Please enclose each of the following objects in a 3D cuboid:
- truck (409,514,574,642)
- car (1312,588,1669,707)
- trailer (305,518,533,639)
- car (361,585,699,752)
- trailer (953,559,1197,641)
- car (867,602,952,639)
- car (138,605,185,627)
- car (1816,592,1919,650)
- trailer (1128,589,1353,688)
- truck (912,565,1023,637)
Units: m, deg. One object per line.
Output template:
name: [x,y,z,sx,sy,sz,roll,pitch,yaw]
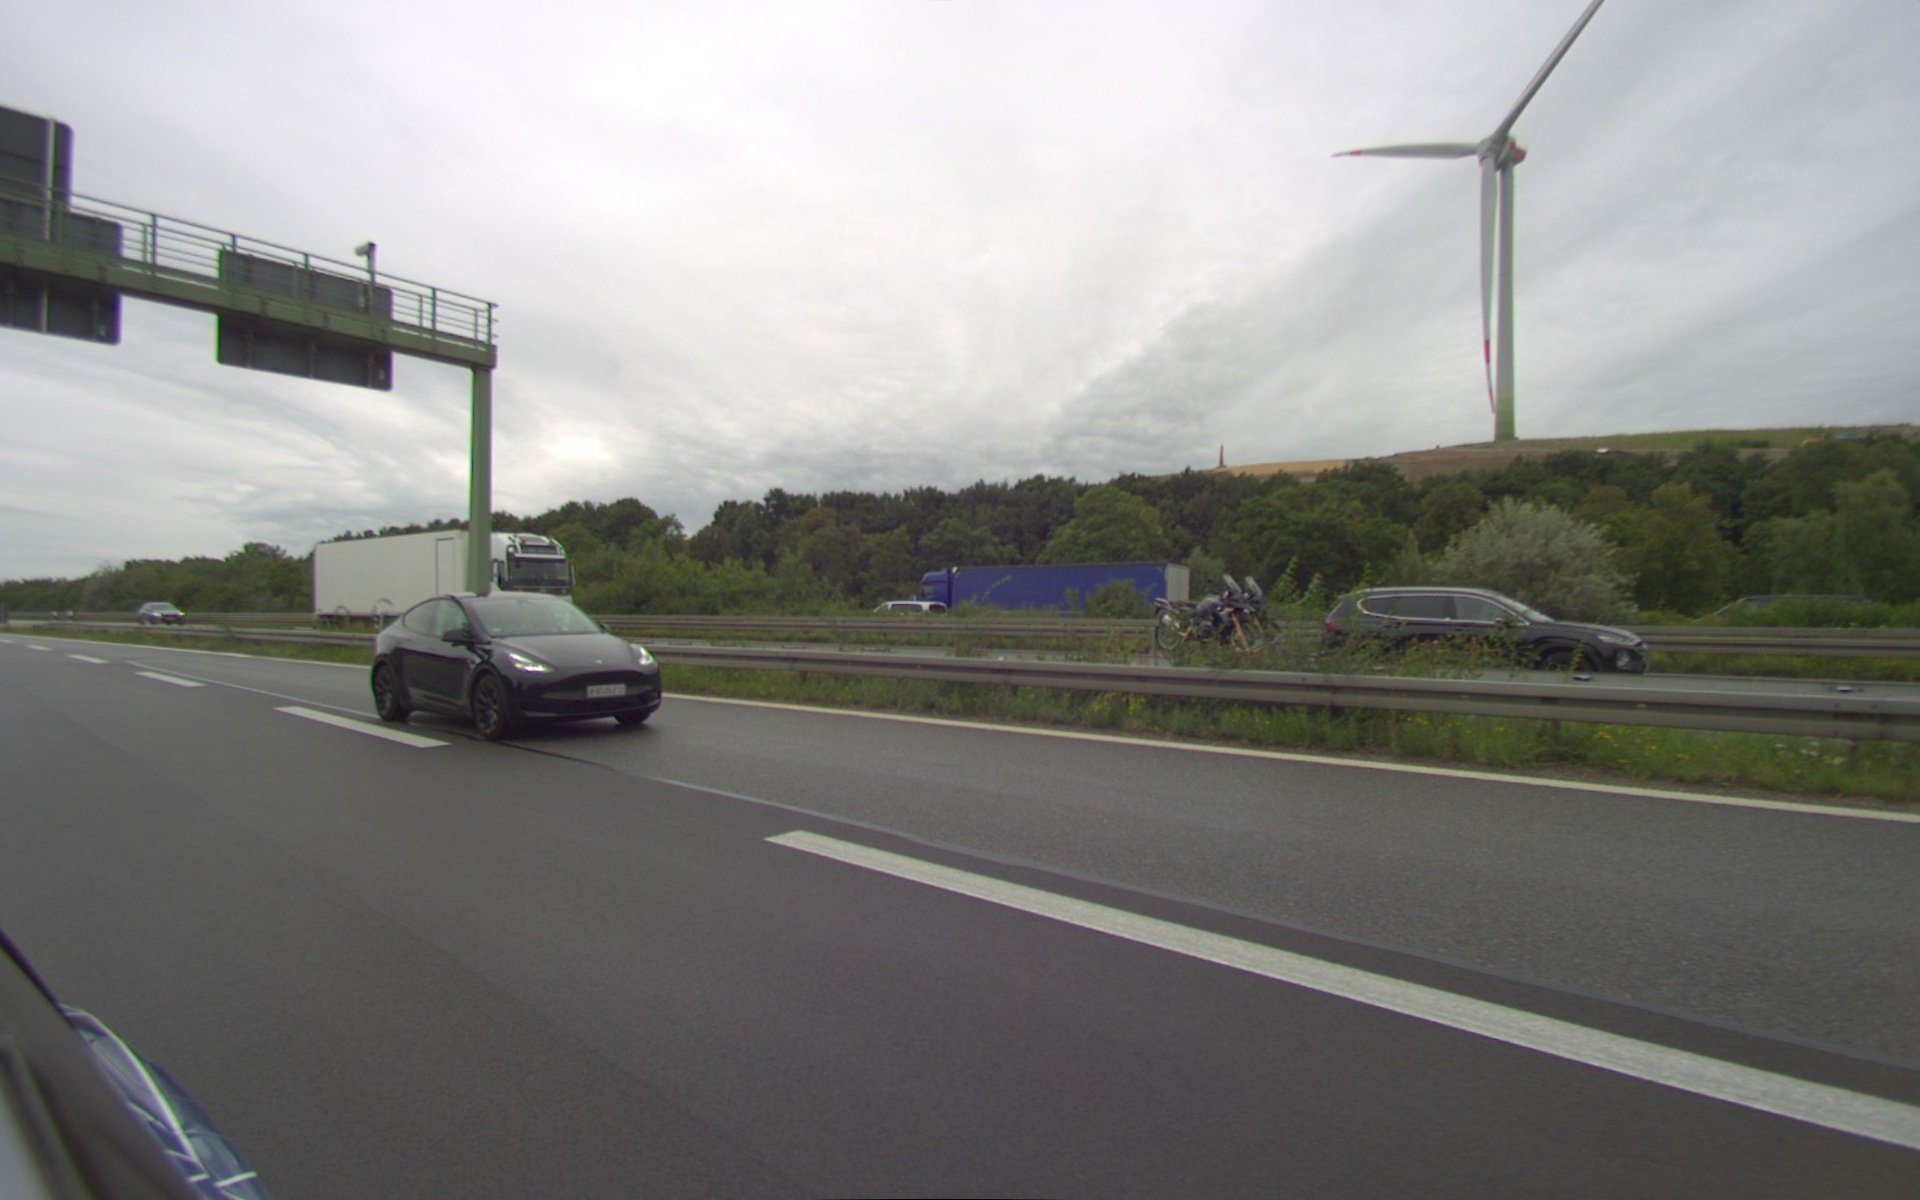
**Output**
truck: [-16.802,-0.692,36.130,6.438,4.166,2.739,-1,0,39]
car: [8.351,0.641,16.192,4.802,1.638,1.863,0,1,40]
trailer: [-21.876,-0.698,40.208,13.935,4.166,2.739,-1,0,39]
car: [-5.313,0.661,12.217,4.551,1.650,1.941,0,1,41]
trailer: [5.794,0.073,54.205,13.509,3.955,2.931,-1,0,38]
car: [-2.818,1.100,55.936,4.522,1.935,1.974,-1,0,39]
car: [-60.381,1.192,76.488,4.481,1.663,1.880,-1,0,39]
car: [28.137,0.594,29.719,4.551,1.650,1.941,0,1,41]
trailer: [5.176,0.636,18.837,3.607,1.638,1.863,0,1,40]
truck: [0.386,0.066,58.510,5.890,3.955,2.931,-1,0,38]
